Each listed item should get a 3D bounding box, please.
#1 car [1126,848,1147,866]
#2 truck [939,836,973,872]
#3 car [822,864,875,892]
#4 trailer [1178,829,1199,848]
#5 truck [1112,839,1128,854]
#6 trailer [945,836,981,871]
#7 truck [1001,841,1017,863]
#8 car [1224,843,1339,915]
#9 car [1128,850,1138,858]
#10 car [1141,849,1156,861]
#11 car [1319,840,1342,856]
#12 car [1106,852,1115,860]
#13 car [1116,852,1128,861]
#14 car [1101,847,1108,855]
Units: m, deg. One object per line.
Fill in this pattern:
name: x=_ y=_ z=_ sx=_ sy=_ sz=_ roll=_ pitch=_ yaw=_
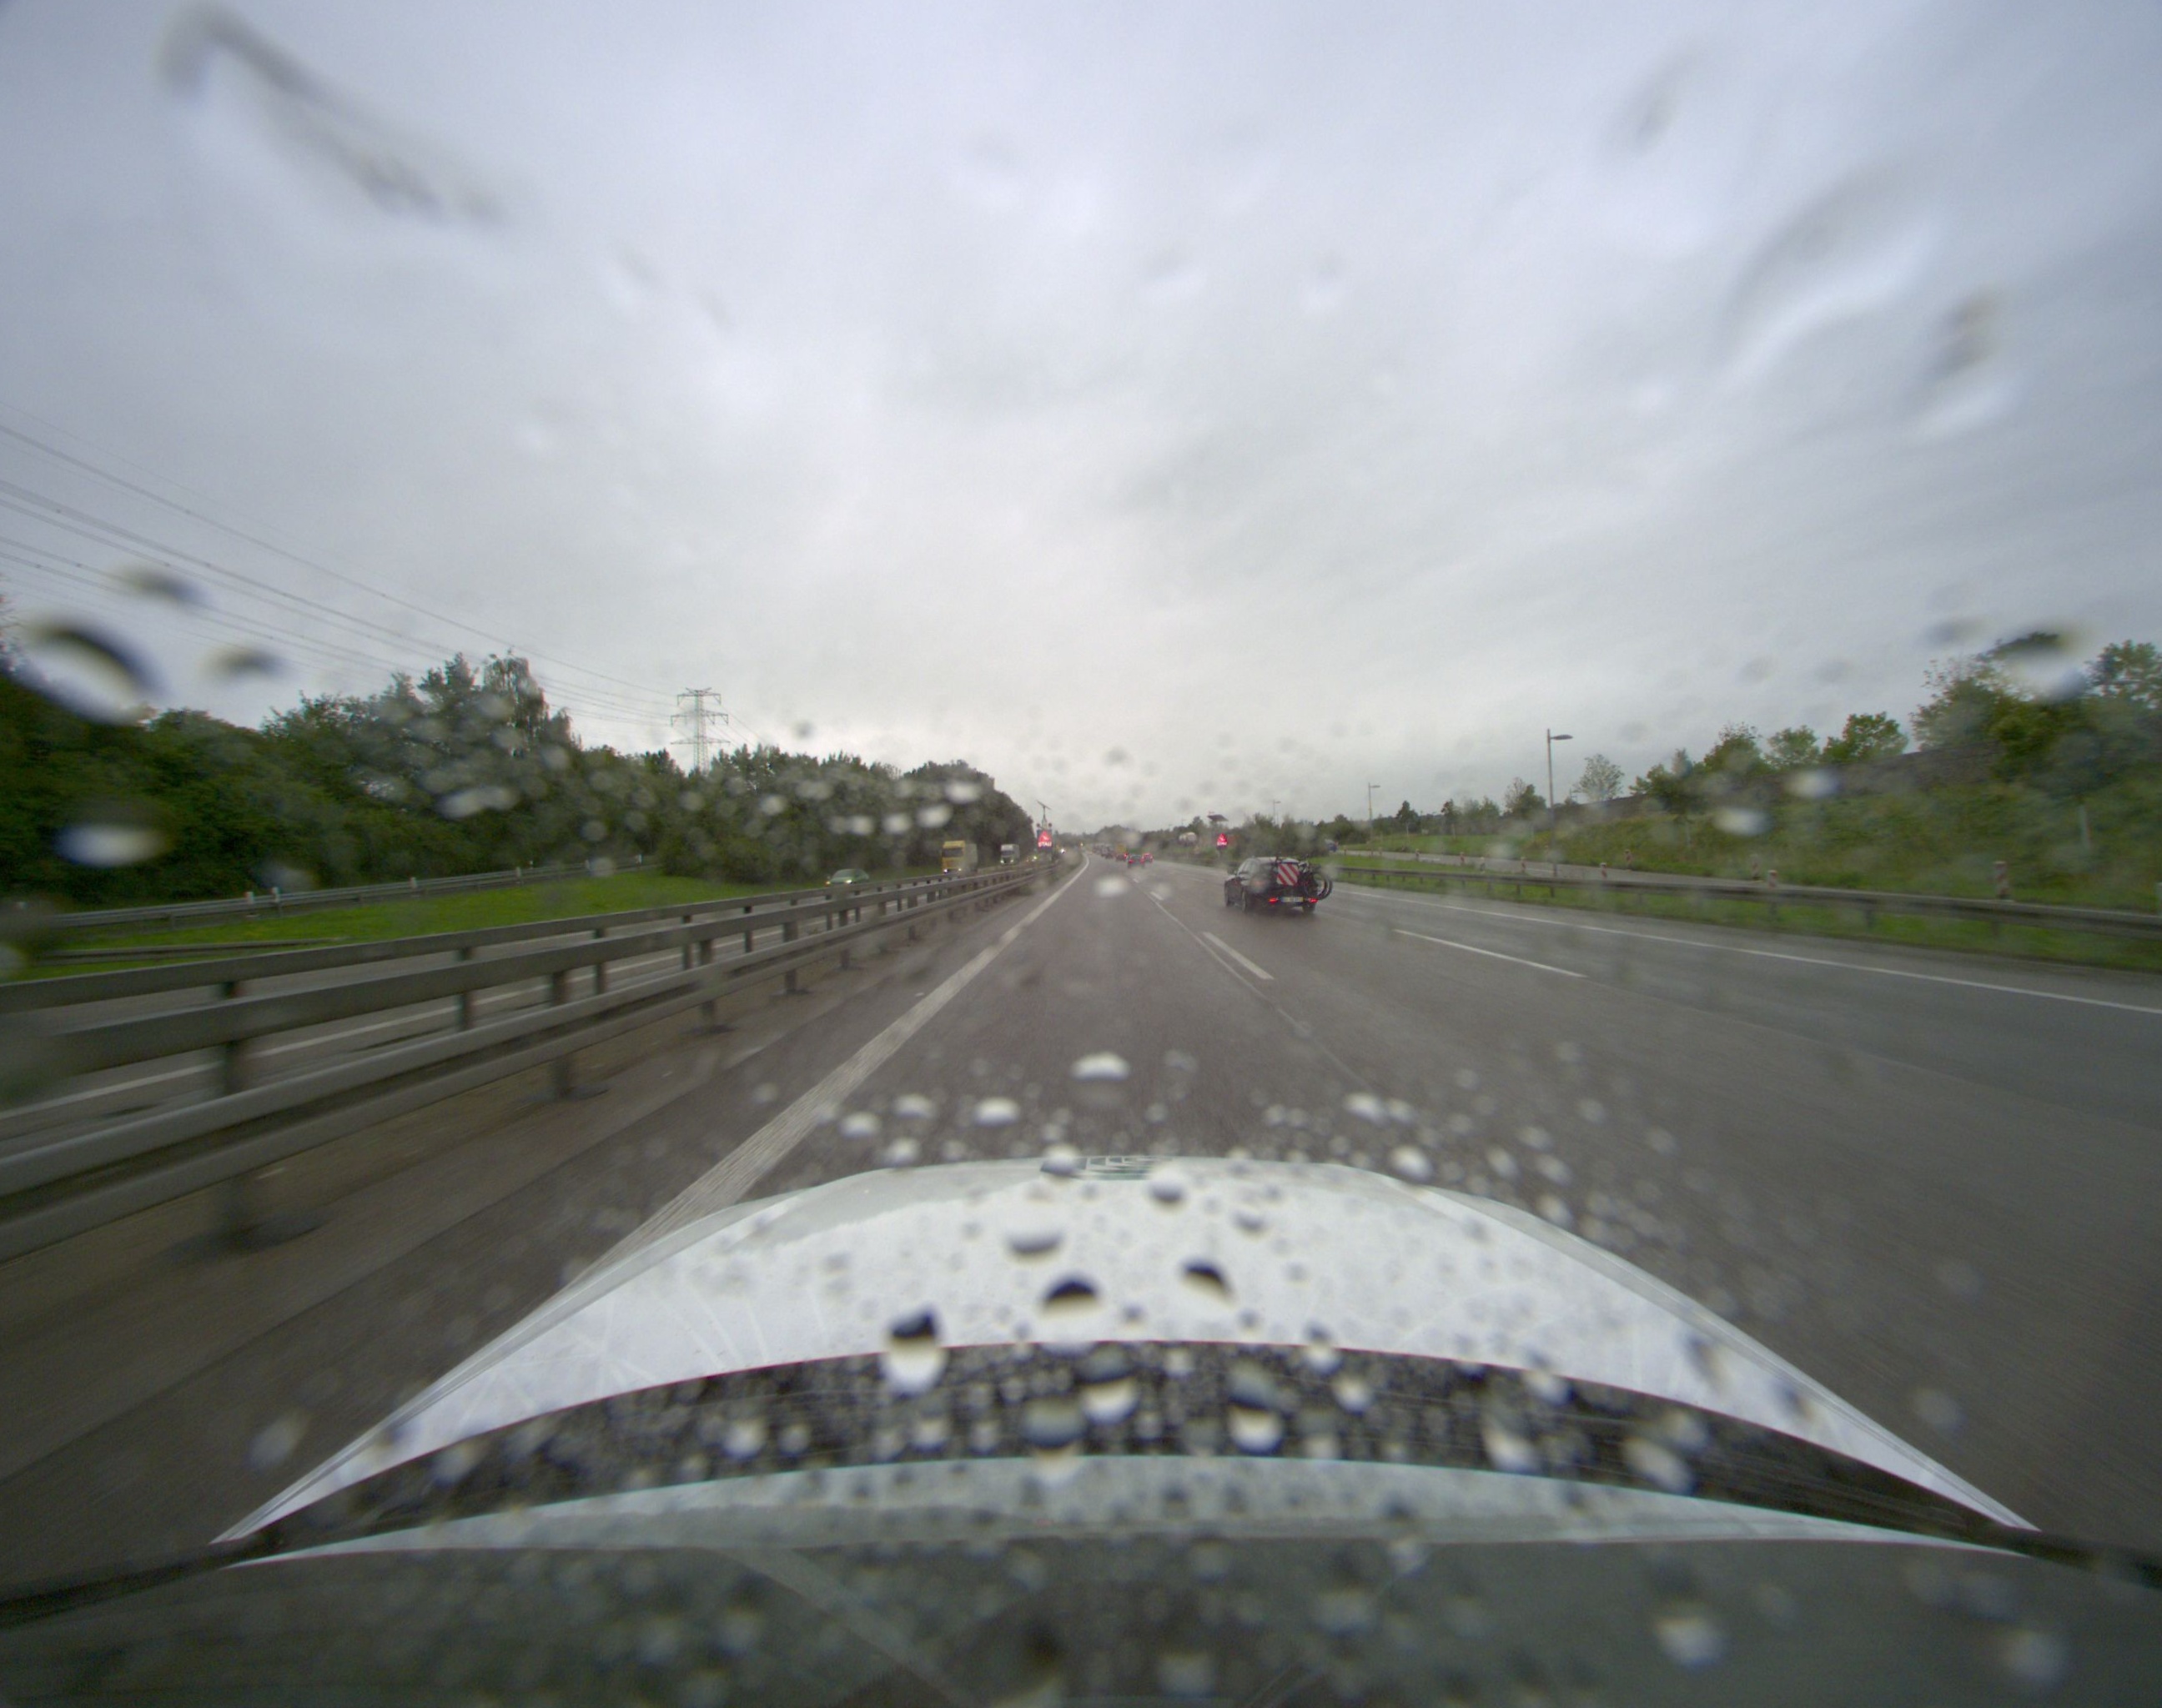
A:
car: x=5.983 y=0.307 z=87.775 sx=1.987 sy=1.761 sz=4.000 roll=-2 pitch=0 yaw=1
truck: x=-14.973 y=0.015 z=97.847 sx=2.752 sy=4.055 sz=6.158 roll=-4 pitch=0 yaw=1
car: x=-14.668 y=1.489 z=51.625 sx=1.868 sy=1.493 sz=4.515 roll=-3 pitch=0 yaw=1
trailer: x=24.386 y=-3.431 z=184.783 sx=2.975 sy=4.156 sz=12.957 roll=-2 pitch=0 yaw=1
truck: x=11.152 y=-2.023 z=232.862 sx=3.911 sy=3.981 sz=12.241 roll=-2 pitch=0 yaw=1
trailer: x=-14.902 y=-0.038 z=103.435 sx=2.752 sy=4.055 sz=9.202 roll=-4 pitch=0 yaw=1
truck: x=-14.357 y=-0.353 z=163.194 sx=2.634 sy=4.237 sz=4.001 roll=-2 pitch=0 yaw=1
car: x=5.178 y=0.615 z=21.821 sx=2.049 sy=1.671 sz=5.527 roll=-1 pitch=-1 yaw=4
car: x=11.940 y=0.046 z=187.985 sx=1.987 sy=1.628 sz=4.000 roll=-2 pitch=0 yaw=1
car: x=10.776 y=0.167 z=130.104 sx=1.987 sy=1.761 sz=4.000 roll=-2 pitch=0 yaw=1
car: x=29.023 y=-0.670 z=94.799 sx=1.912 sy=1.709 sz=4.008 roll=-2 pitch=0 yaw=7
car: x=6.892 y=0.470 z=192.790 sx=1.987 sy=1.628 sz=4.000 roll=-2 pitch=0 yaw=1
car: x=7.539 y=0.418 z=149.359 sx=1.987 sy=1.628 sz=4.000 roll=-2 pitch=0 yaw=1
car: x=6.948 y=-0.985 z=244.972 sx=1.987 sy=2.205 sz=4.000 roll=-2 pitch=0 yaw=1
